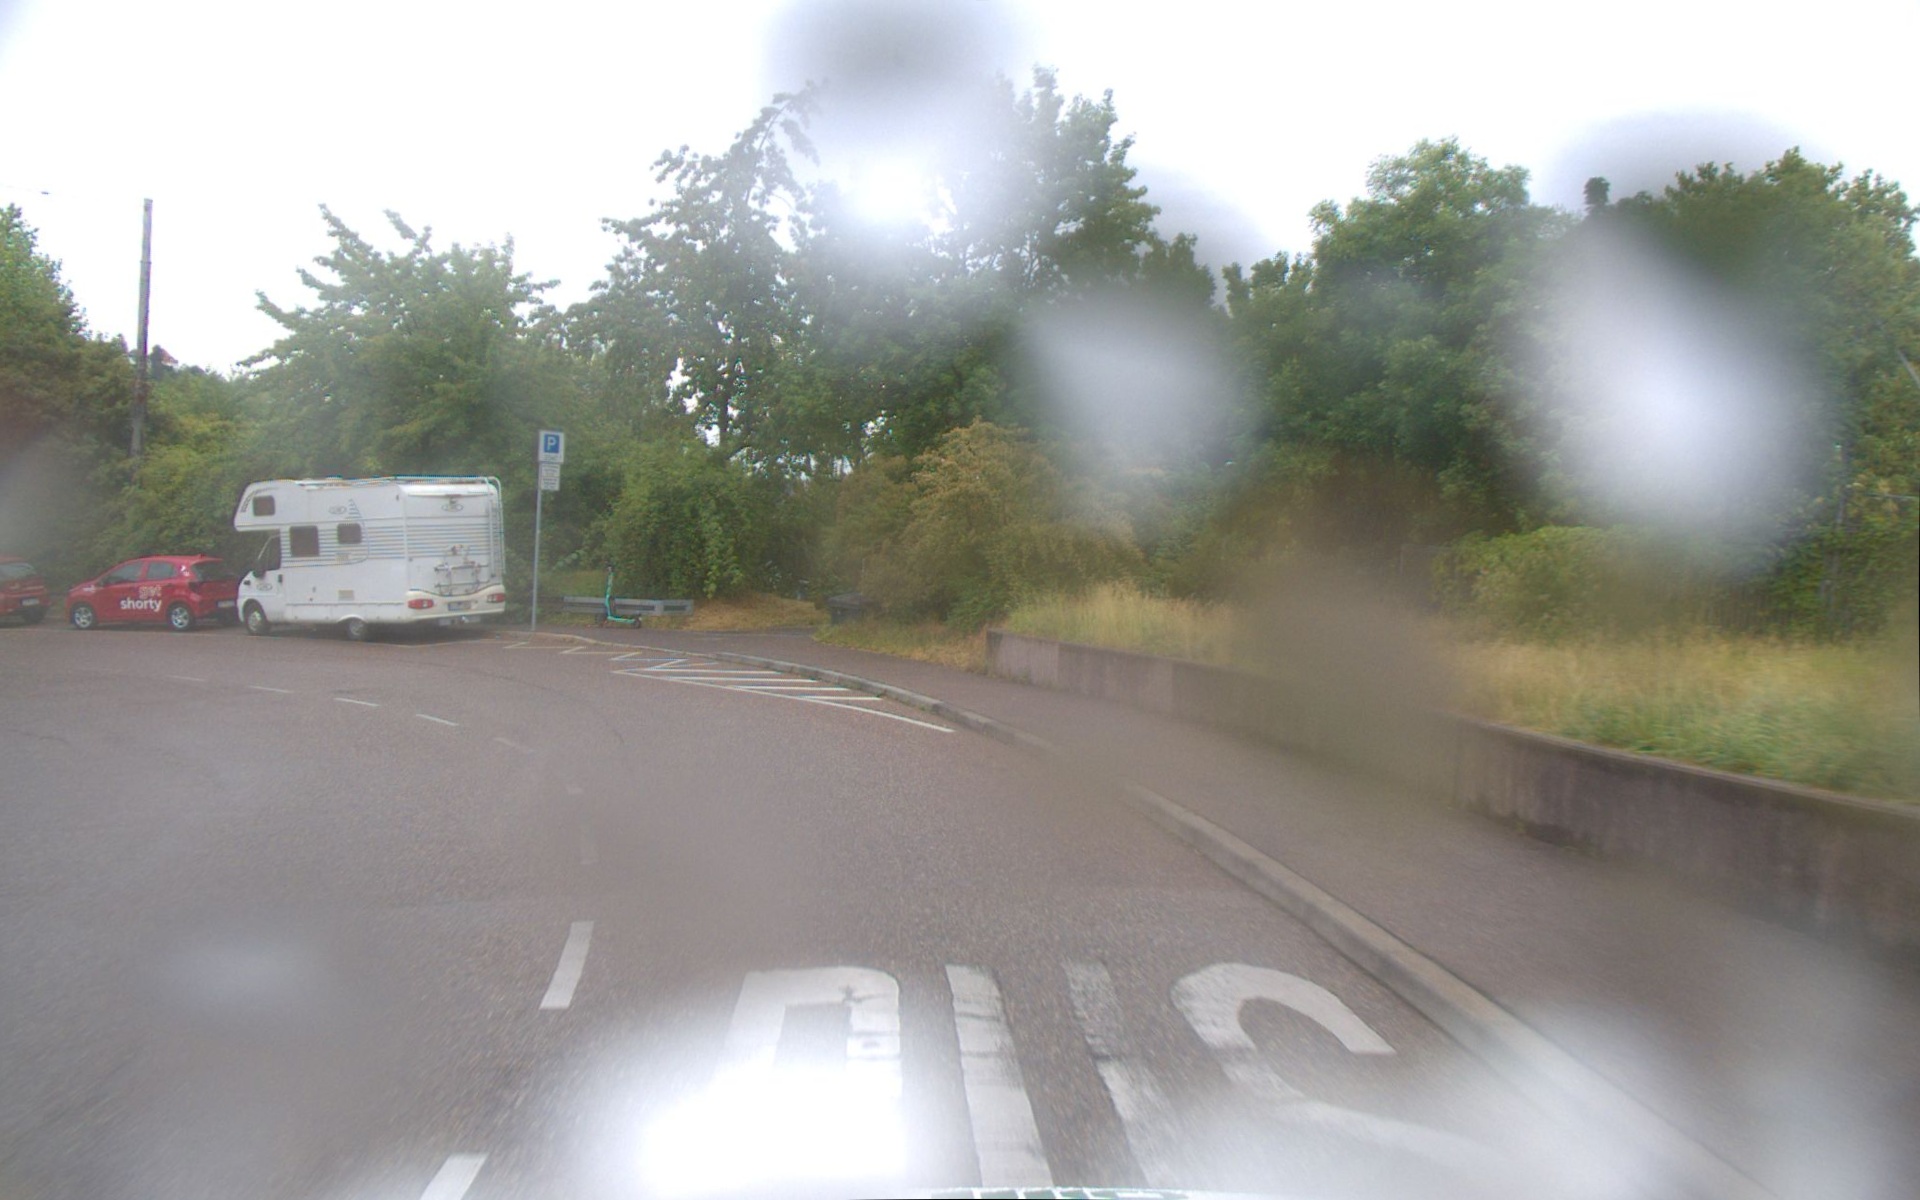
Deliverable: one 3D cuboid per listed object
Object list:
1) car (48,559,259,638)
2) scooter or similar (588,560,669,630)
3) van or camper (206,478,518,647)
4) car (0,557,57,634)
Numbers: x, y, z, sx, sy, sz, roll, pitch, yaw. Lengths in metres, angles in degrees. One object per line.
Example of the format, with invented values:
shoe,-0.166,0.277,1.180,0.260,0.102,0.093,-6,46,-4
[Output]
car,-16.907,-0.046,34.714,3.713,1.485,1.648,0,5,13
scooter or similar,-6.365,-0.101,31.697,1.674,1.305,0.450,0,1,34
van or camper,-11.704,-0.806,32.219,6.149,2.994,2.392,1,5,33
car,-21.780,-0.128,35.857,3.585,1.539,1.566,0,4,8
